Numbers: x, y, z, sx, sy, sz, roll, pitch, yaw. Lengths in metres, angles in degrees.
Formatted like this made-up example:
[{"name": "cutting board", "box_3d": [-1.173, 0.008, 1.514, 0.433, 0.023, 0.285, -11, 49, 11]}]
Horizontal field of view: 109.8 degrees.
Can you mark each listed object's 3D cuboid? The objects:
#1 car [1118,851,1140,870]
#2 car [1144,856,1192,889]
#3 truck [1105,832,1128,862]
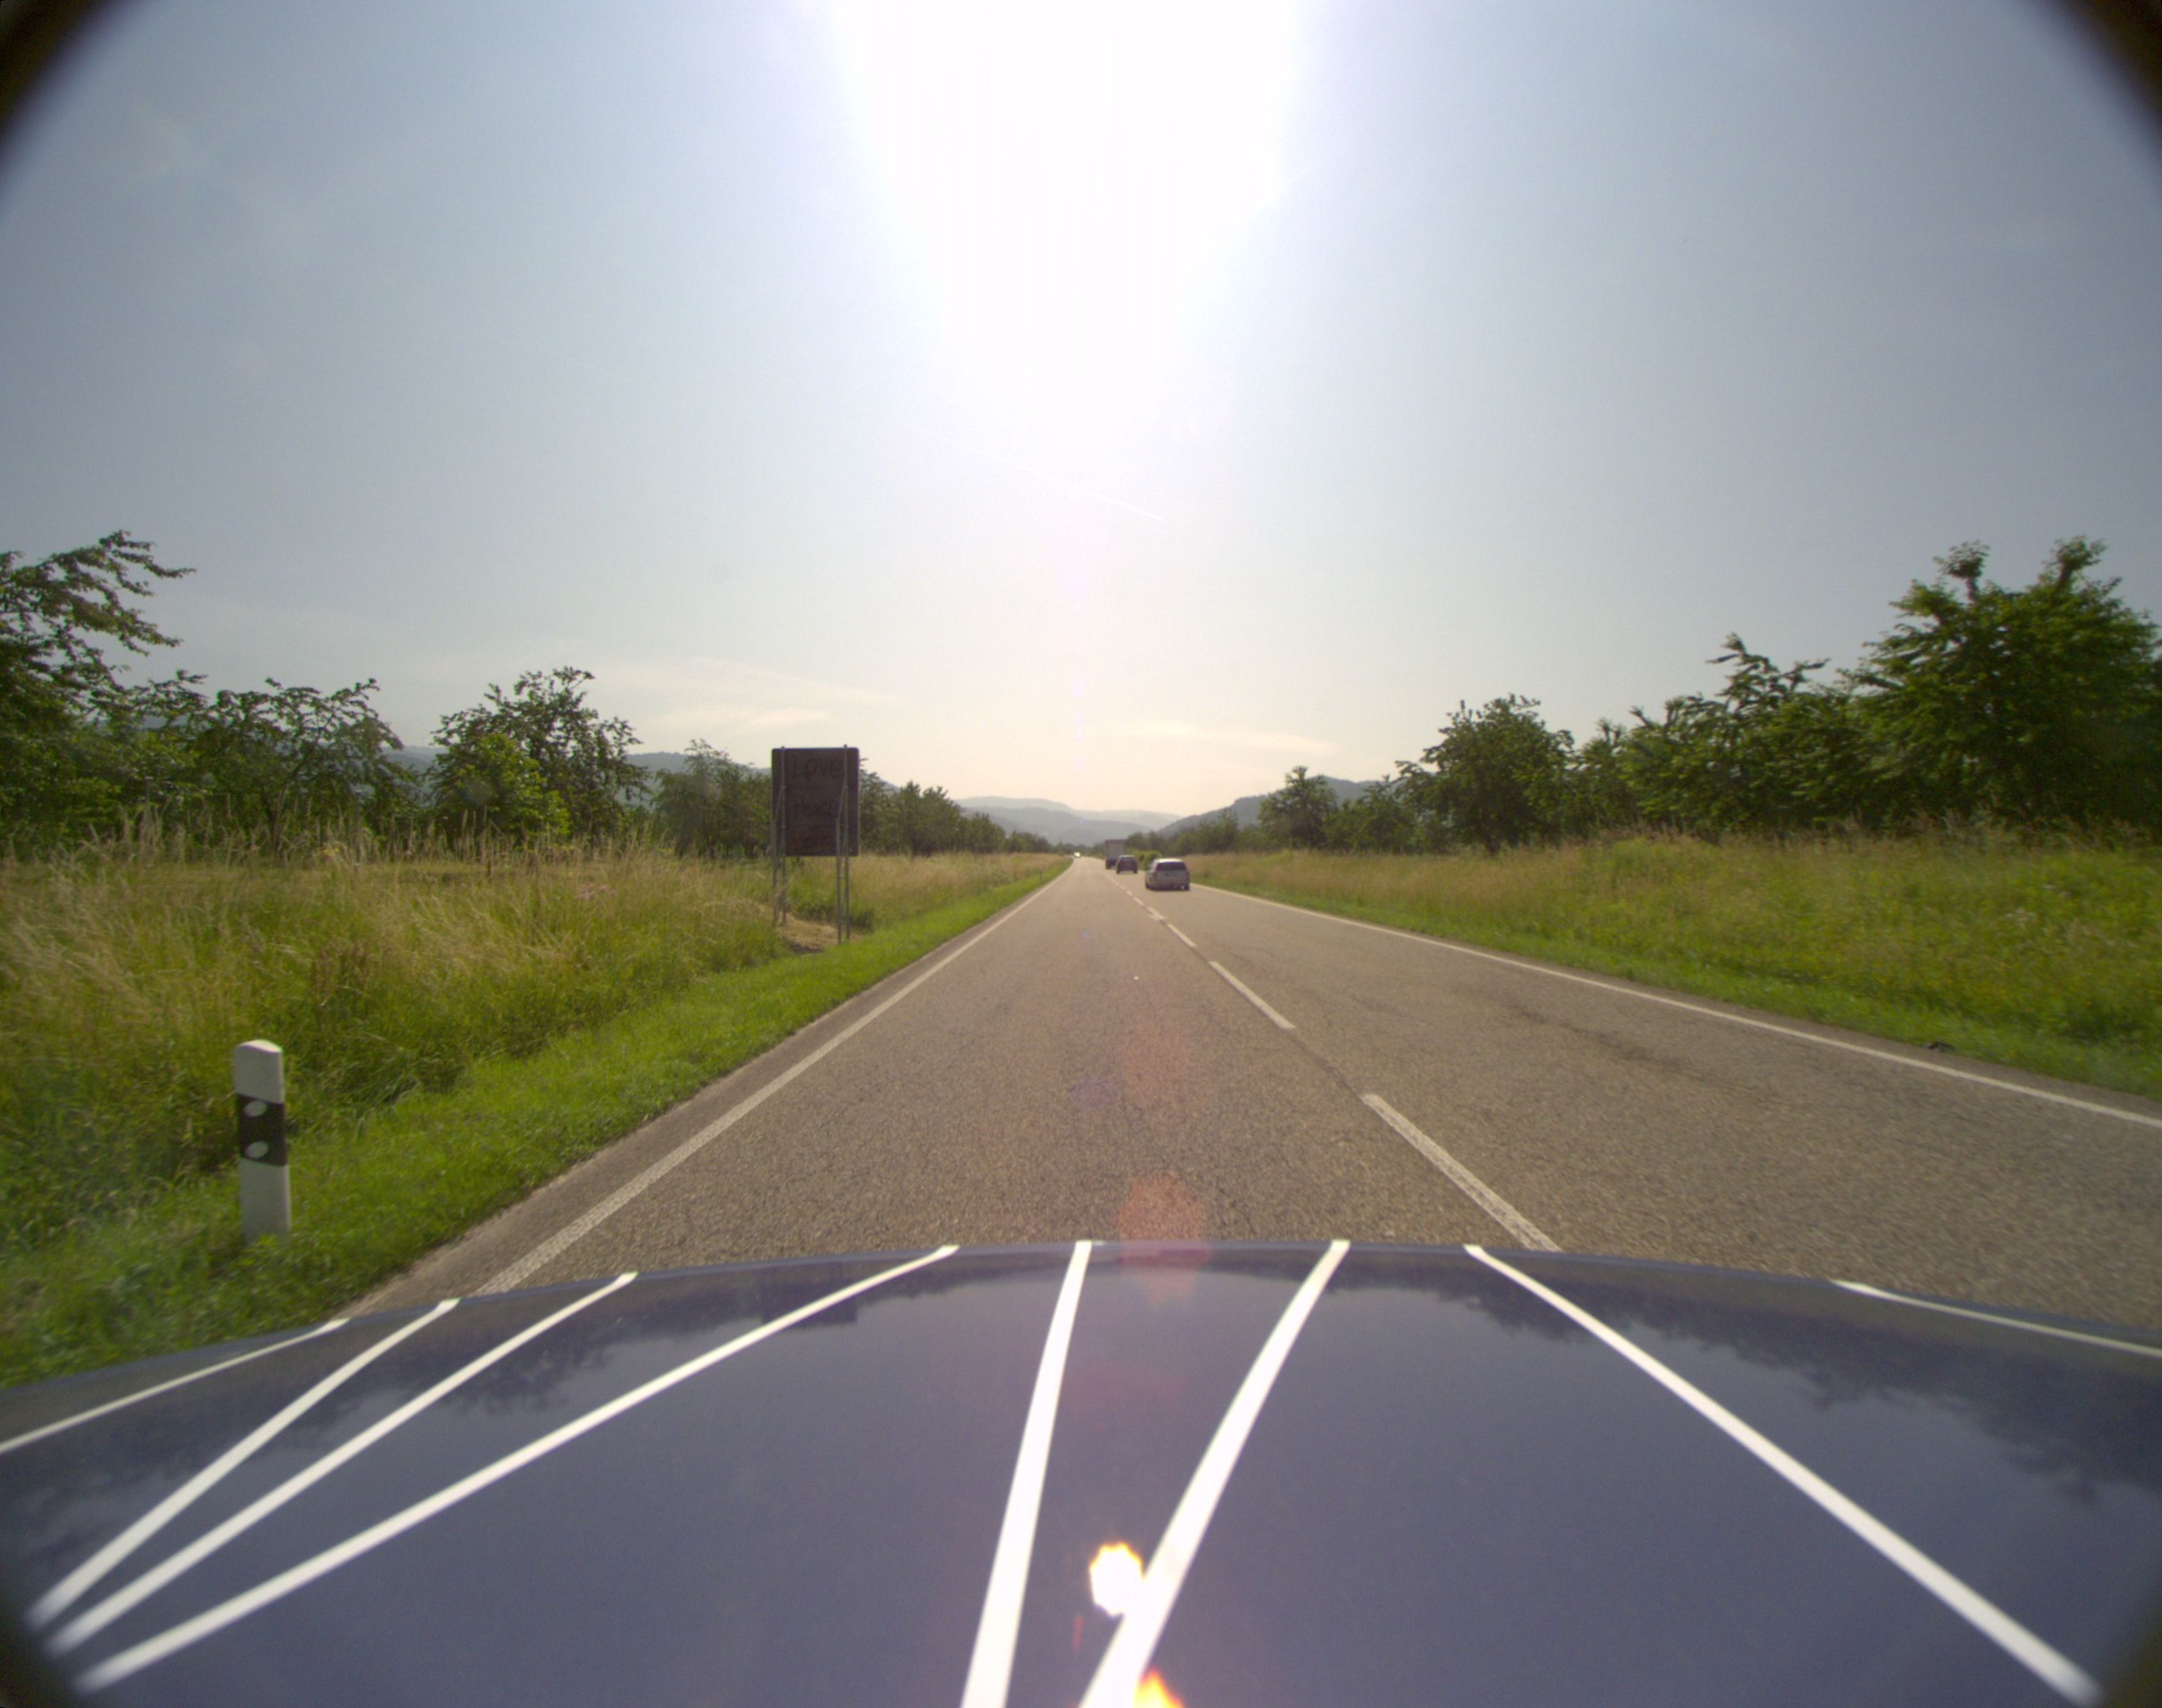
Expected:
[{"name": "car", "box_3d": [4.465, 0.607, 71.199, 1.840, 1.668, 4.411, -1, 0, 2]}, {"name": "car", "box_3d": [4.024, 0.807, 35.737, 1.694, 1.400, 4.894, -1, 0, 0]}, {"name": "truck", "box_3d": [4.713, -0.937, 102.682, 2.671, 3.816, 10.207, -1, 0, 0]}]
